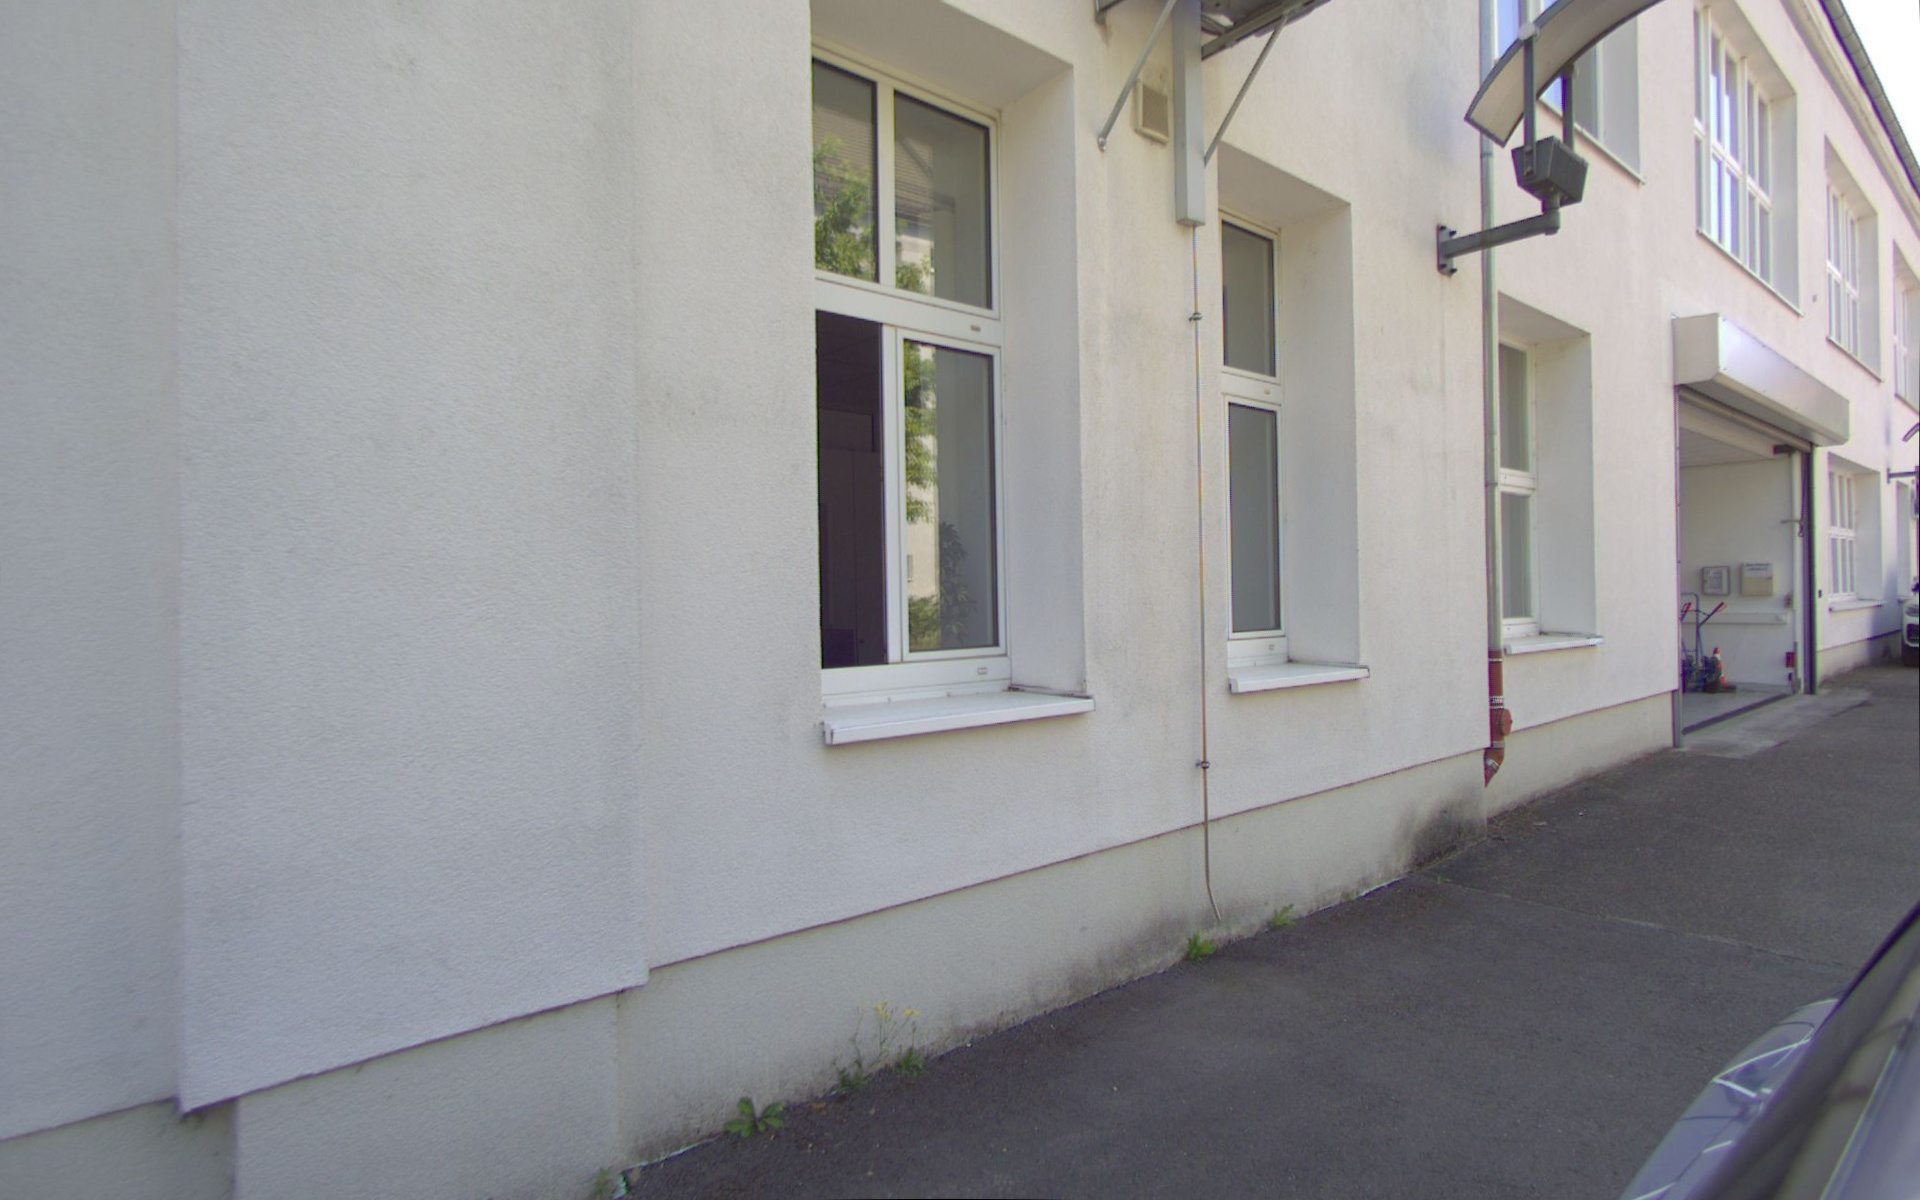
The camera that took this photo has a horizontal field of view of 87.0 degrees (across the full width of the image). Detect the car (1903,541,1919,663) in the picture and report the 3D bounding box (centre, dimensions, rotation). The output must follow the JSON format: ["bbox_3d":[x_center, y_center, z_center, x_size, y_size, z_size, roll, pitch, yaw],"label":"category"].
[{"bbox_3d":[16.627,-0.041,15.953,4.644,1.825,2.010,-2,1,-40],"label":"car"}]

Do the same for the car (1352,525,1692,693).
[{"bbox_3d":[7.749,0.092,14.274,1.623,2.039,3.839,-2,1,-36],"label":"car"}]
